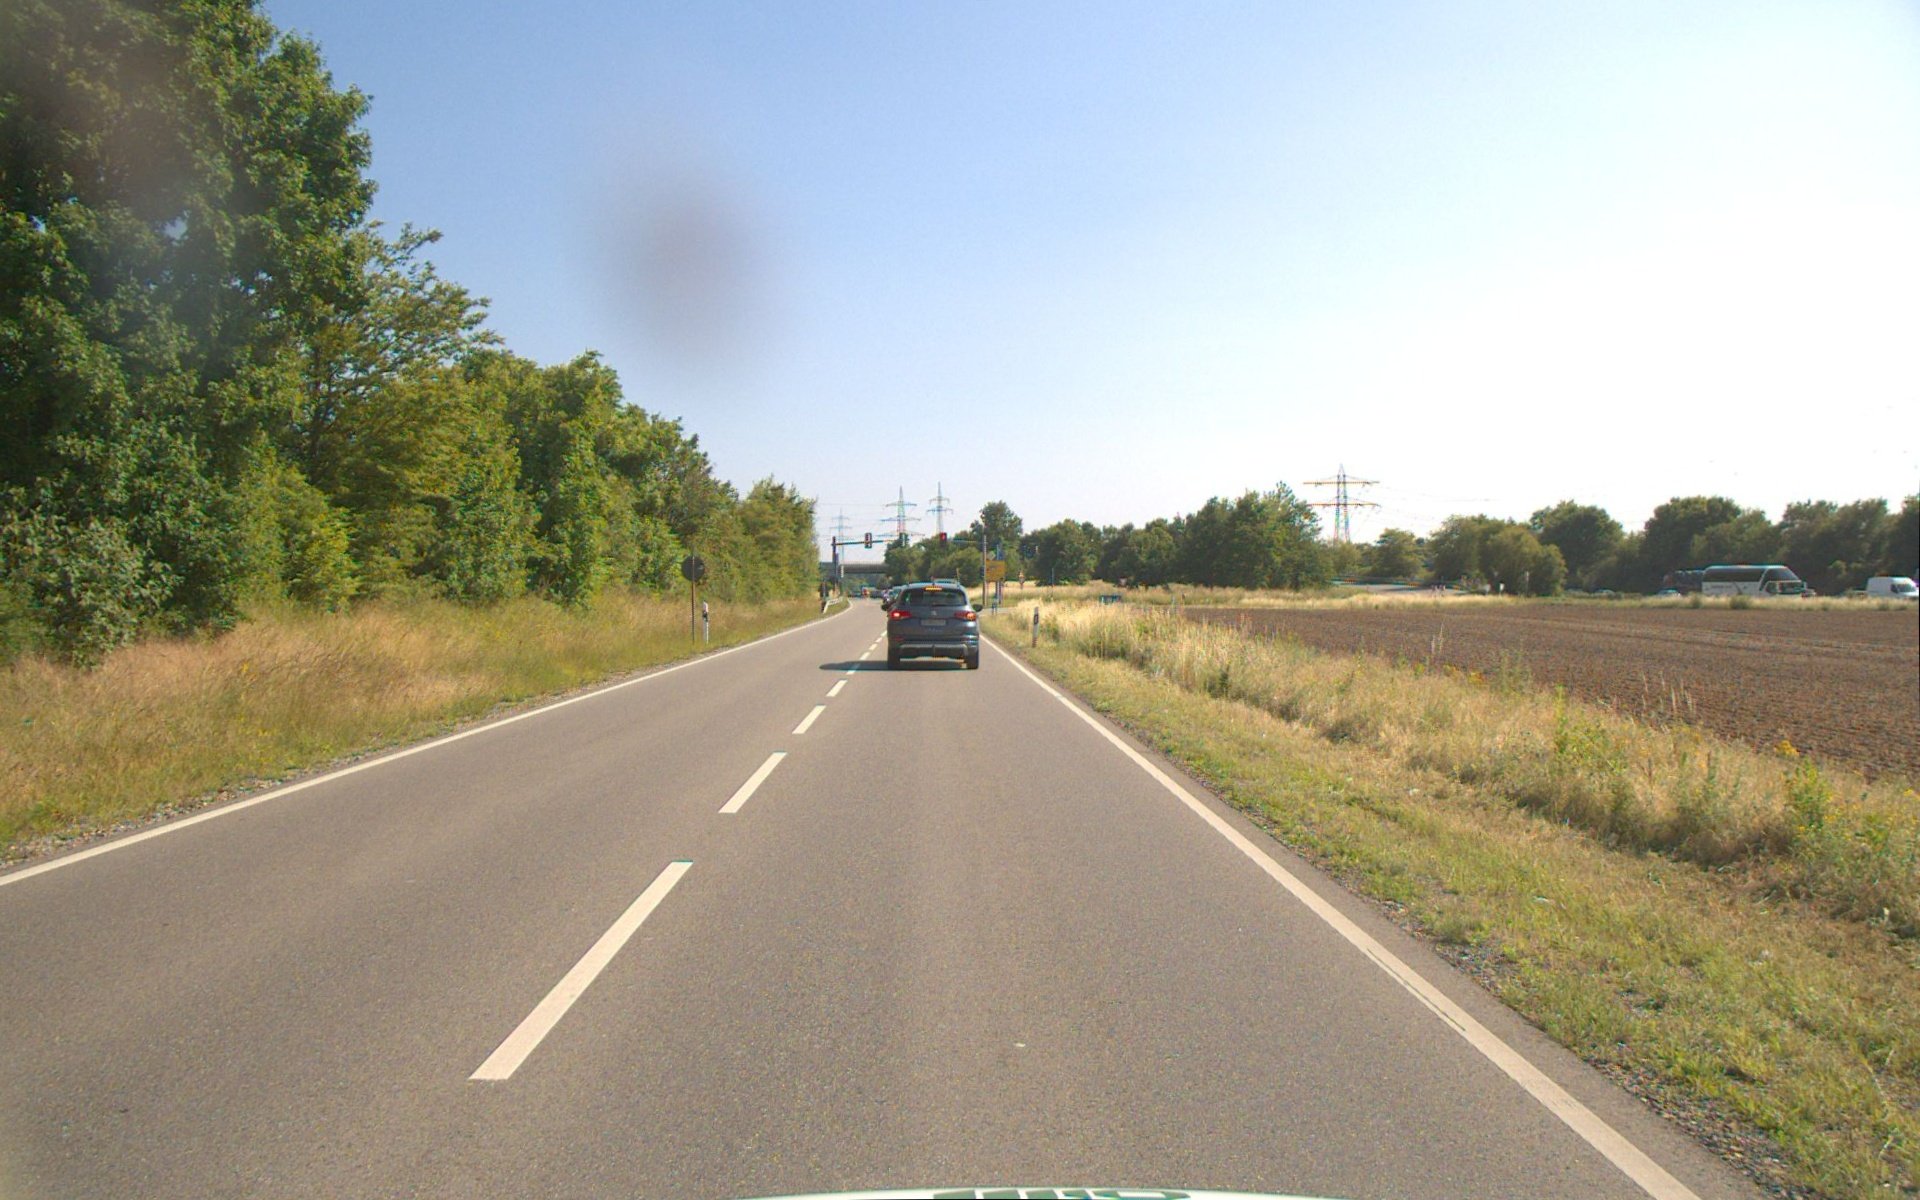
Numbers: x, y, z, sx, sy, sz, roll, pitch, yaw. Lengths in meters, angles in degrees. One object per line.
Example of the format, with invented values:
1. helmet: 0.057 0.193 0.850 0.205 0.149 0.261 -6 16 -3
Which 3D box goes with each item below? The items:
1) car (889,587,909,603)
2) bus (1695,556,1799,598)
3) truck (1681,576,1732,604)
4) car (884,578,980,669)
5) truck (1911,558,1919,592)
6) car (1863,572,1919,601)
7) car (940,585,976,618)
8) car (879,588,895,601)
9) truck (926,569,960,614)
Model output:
1. car: -6.094 -0.482 165.727 1.781 1.567 3.996 0 1 -5
2. bus: 76.393 -2.267 160.983 2.414 3.870 14.538 0 1 -4
3. truck: 92.679 -1.280 205.447 3.218 3.324 6.426 0 1 -2
4. car: -0.560 0.406 32.443 1.749 1.657 3.999 0 1 -1
5. truck: 95.378 -2.439 159.460 3.218 3.324 6.976 -1 0 -2
6. car: 80.593 -1.129 142.963 1.953 2.413 5.520 1 0 -1
7. car: -0.120 0.053 83.648 1.749 1.570 3.999 0 1 -2
8. car: -8.184 -0.593 185.859 1.651 1.404 3.530 1 1 -4
9. truck: -1.193 -0.558 118.309 2.289 3.120 5.809 1 0 0
